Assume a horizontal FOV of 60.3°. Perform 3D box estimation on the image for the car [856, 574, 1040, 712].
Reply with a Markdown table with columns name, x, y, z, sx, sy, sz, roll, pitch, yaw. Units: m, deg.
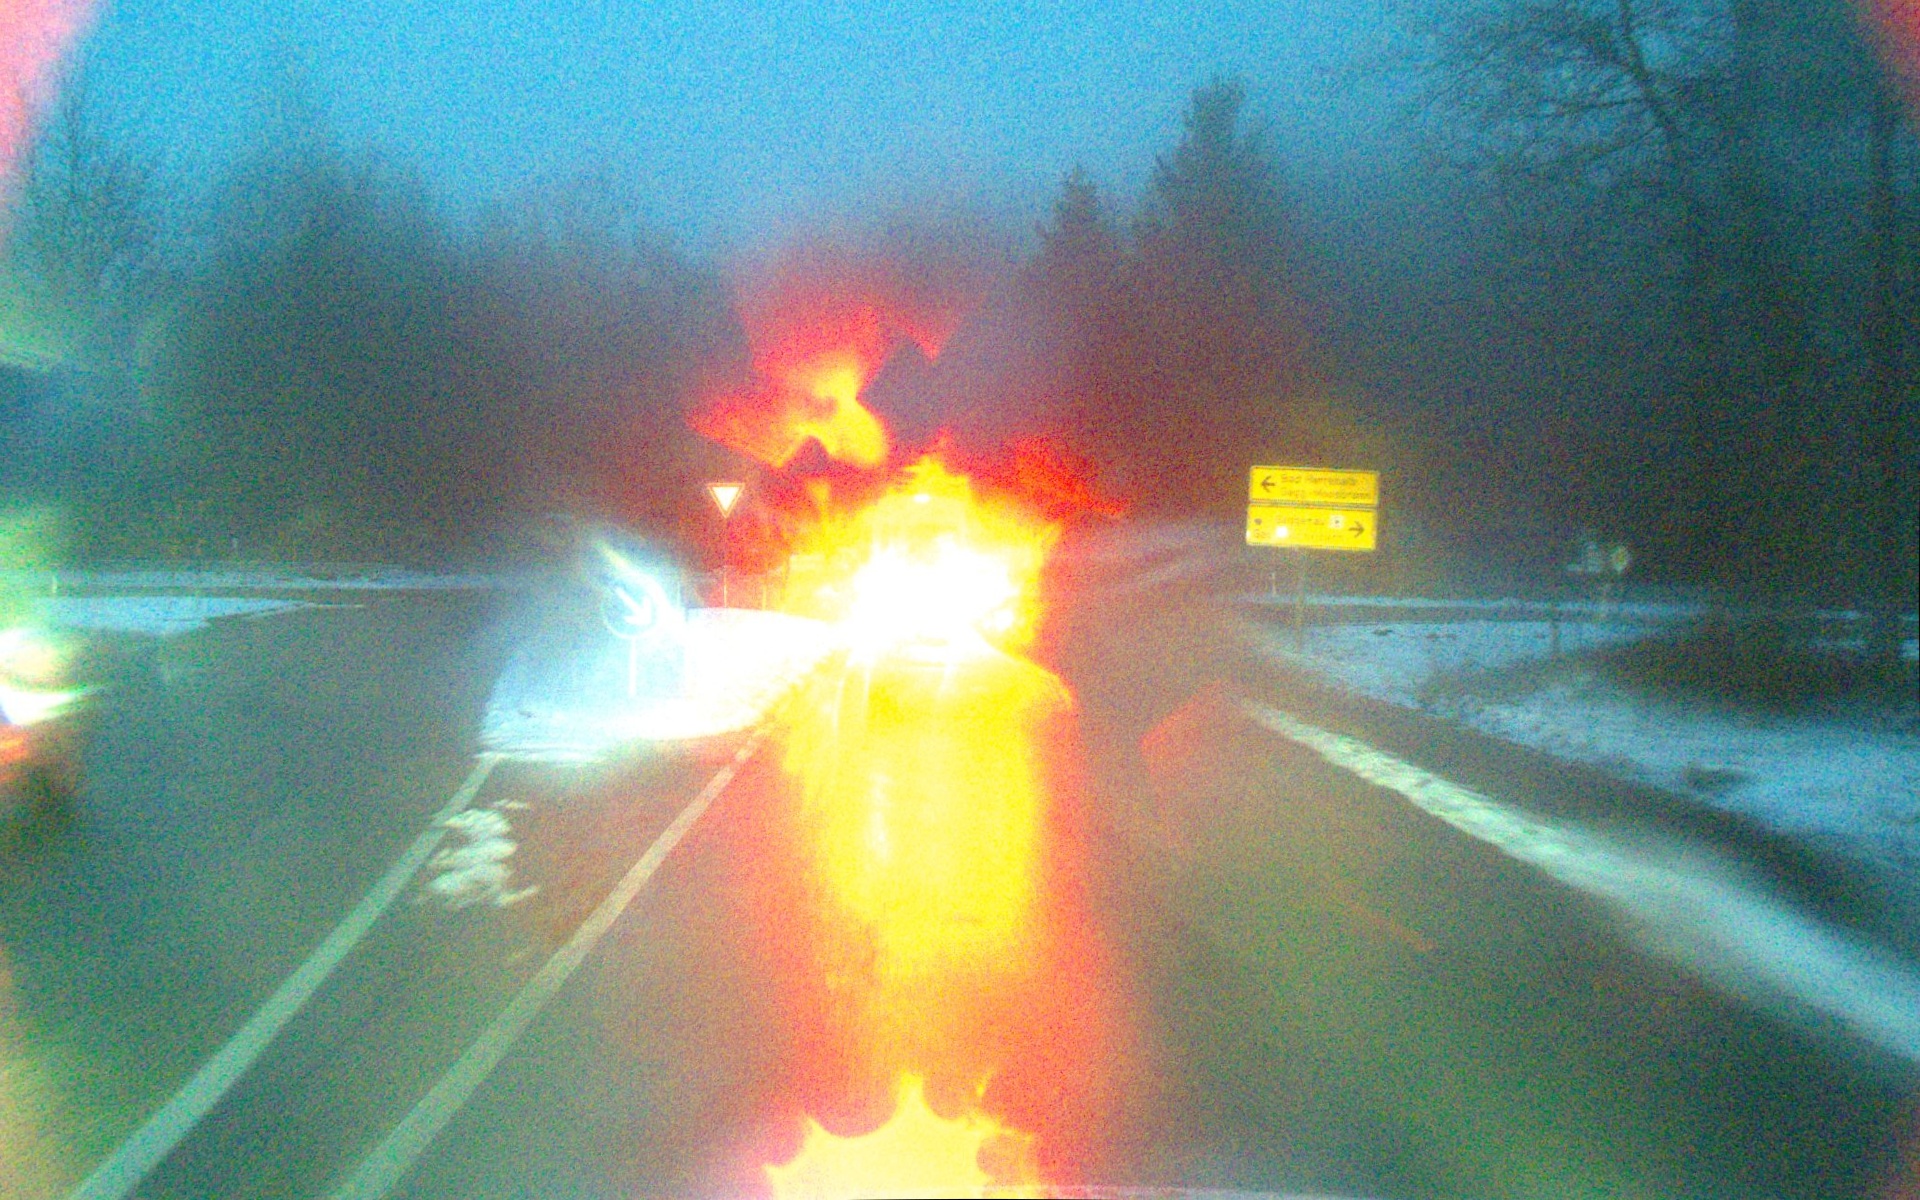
| name | x | y | z | sx | sy | sz | roll | pitch | yaw |
| --- | --- | --- | --- | --- | --- | --- | --- | --- | --- |
| car | -0.188 | 0.419 | 19.261 | 1.883 | 1.299 | 3.999 | 2 | 2 | -2 |

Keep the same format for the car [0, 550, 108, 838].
| name | x | y | z | sx | sy | sz | roll | pitch | yaw |
| --- | --- | --- | --- | --- | --- | --- | --- | --- | --- |
| car | -5.849 | 0.506 | 8.343 | 1.711 | 1.512 | 3.993 | -1 | 1 | -12 |

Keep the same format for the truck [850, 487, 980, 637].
| name | x | y | z | sx | sy | sz | roll | pitch | yaw |
| --- | --- | --- | --- | --- | --- | --- | --- | --- | --- |
| truck | -1.033 | -0.773 | 34.415 | 2.036 | 2.793 | 5.310 | 2 | 1 | -8 |
